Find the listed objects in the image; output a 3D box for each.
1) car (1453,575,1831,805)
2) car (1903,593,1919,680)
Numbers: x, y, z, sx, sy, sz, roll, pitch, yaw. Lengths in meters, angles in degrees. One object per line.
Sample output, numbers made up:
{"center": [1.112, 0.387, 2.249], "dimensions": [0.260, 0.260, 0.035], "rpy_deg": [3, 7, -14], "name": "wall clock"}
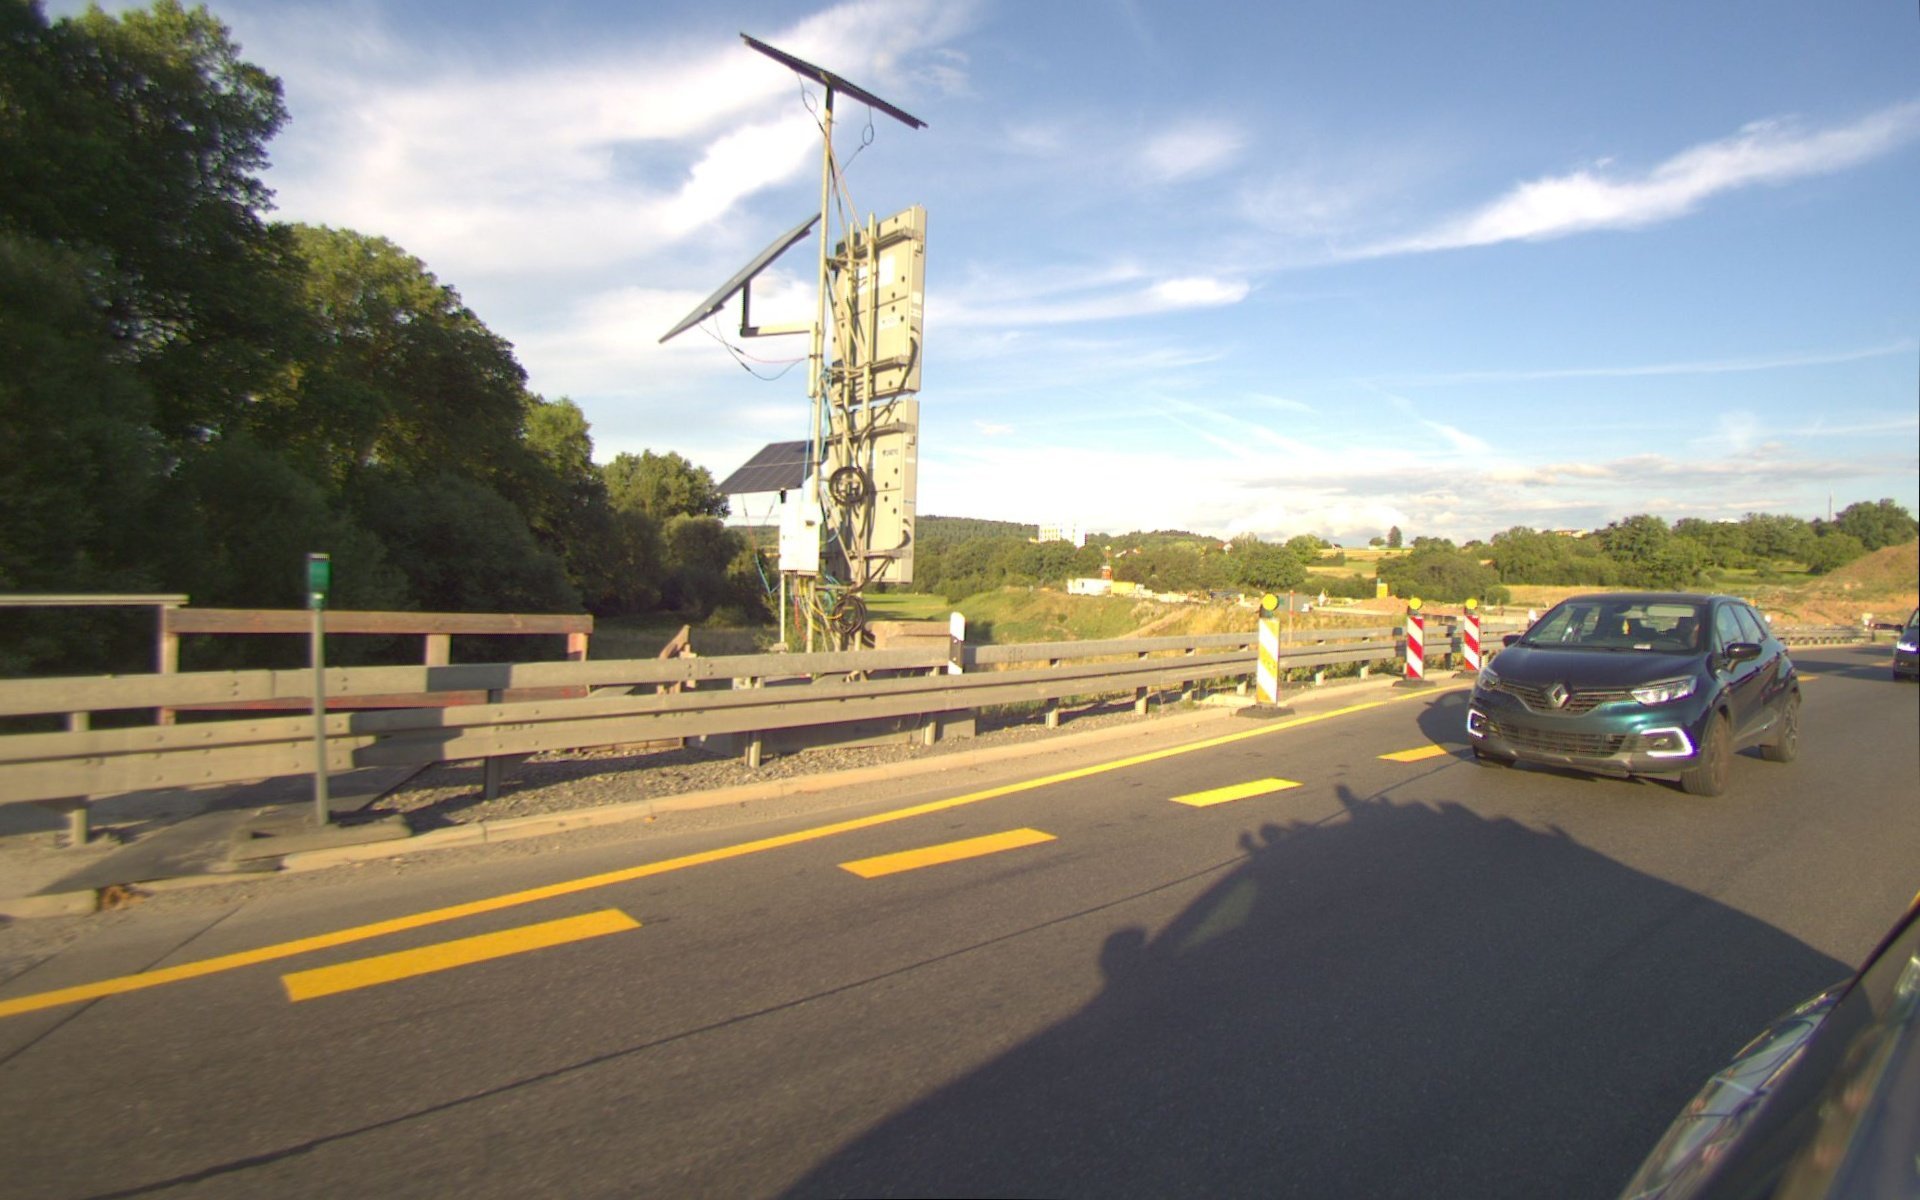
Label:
{"center": [6.248, 0.650, 9.092], "dimensions": [4.061, 1.606, 1.777], "rpy_deg": [1, 0, -40], "name": "car"}
{"center": [20.019, 0.687, 19.868], "dimensions": [4.448, 1.636, 1.815], "rpy_deg": [1, -1, -42], "name": "car"}
